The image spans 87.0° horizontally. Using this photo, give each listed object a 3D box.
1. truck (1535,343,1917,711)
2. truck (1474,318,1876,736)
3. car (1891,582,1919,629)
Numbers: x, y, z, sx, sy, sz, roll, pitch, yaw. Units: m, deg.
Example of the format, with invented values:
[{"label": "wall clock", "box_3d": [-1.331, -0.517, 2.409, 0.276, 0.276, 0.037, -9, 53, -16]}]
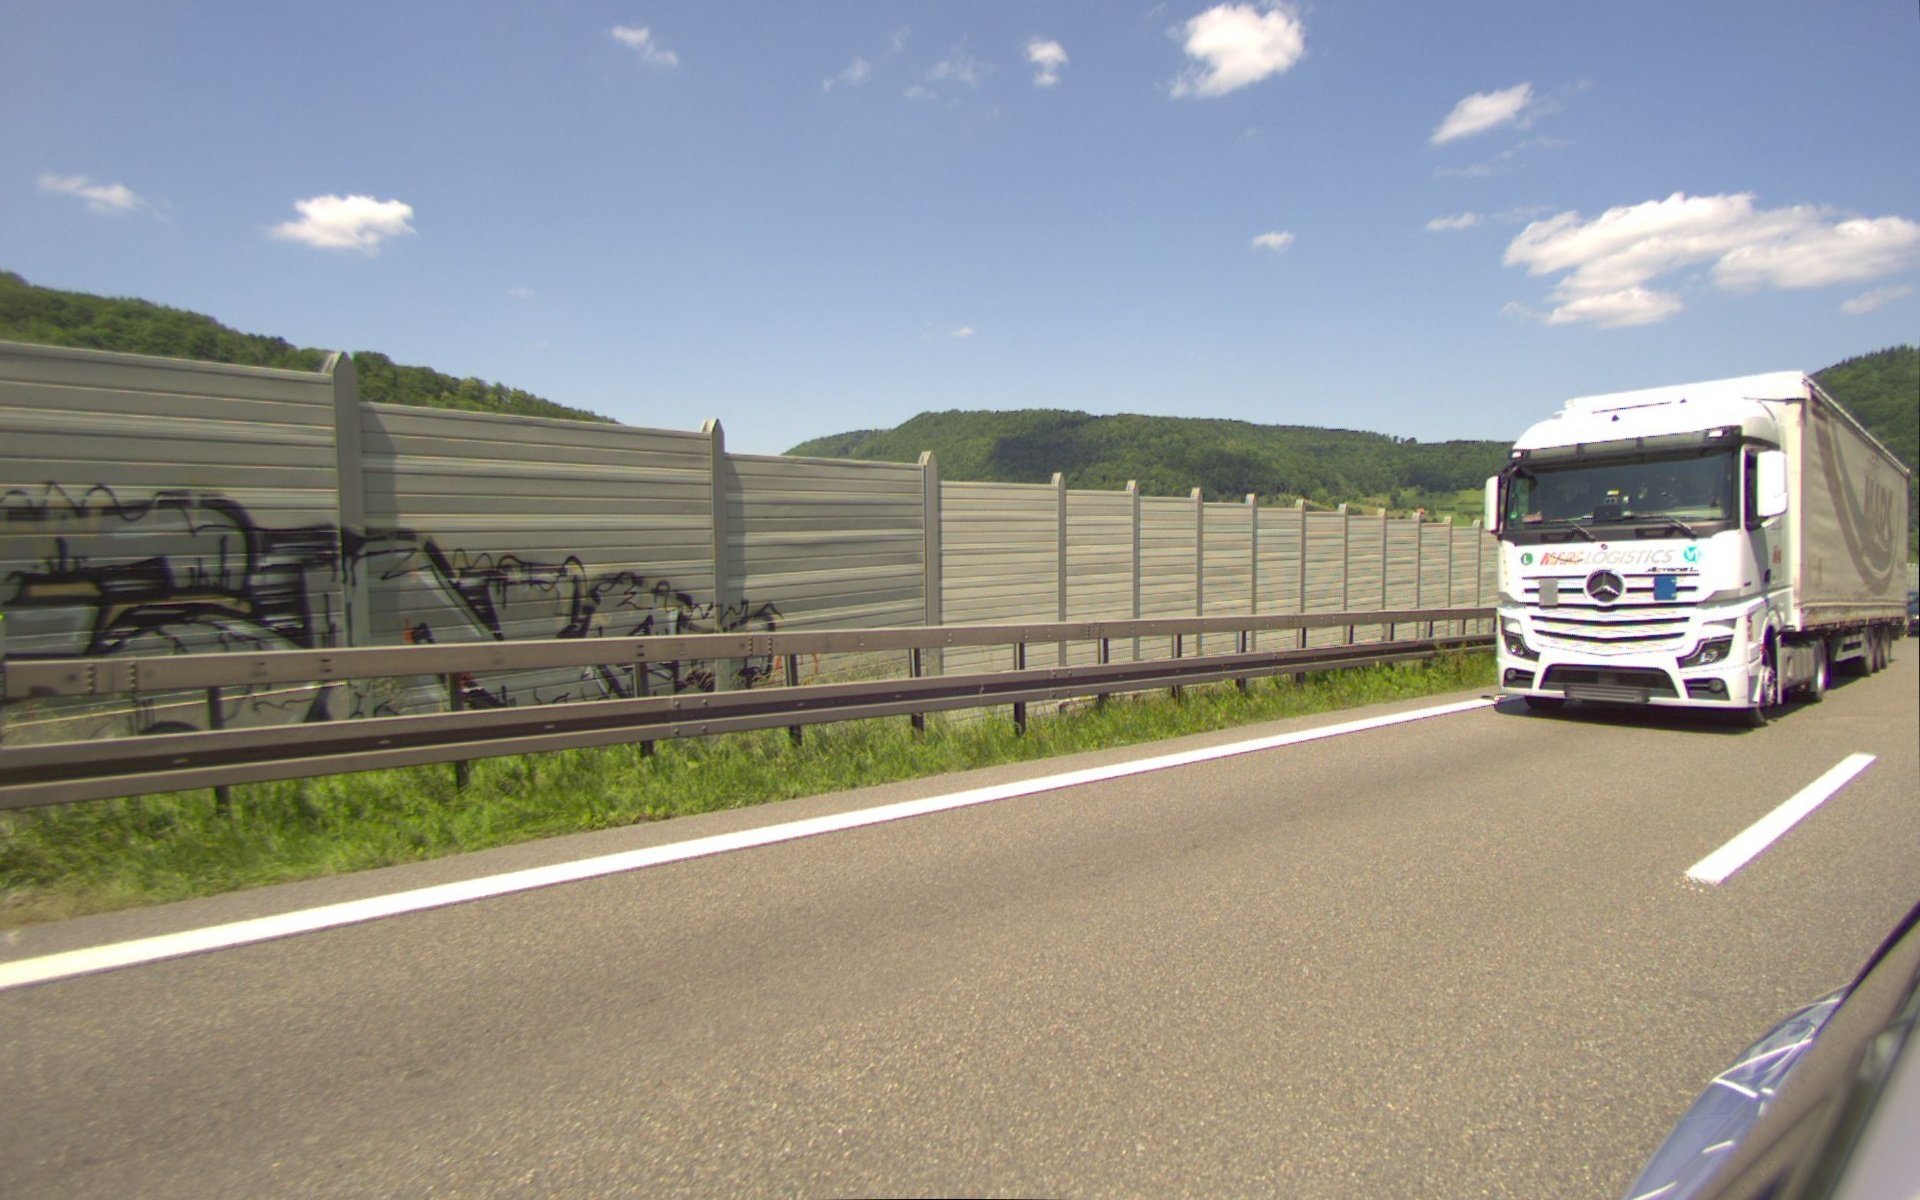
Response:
[{"label": "truck", "box_3d": [13.107, -0.908, 16.596, 11.841, 4.200, 2.858, -1, 1, -42]}, {"label": "truck", "box_3d": [9.555, -0.860, 13.205, 6.707, 4.087, 2.762, -2, 4, -42]}, {"label": "car", "box_3d": [31.661, 0.176, 32.896, 3.415, 1.430, 1.661, -2, 4, -42]}]
